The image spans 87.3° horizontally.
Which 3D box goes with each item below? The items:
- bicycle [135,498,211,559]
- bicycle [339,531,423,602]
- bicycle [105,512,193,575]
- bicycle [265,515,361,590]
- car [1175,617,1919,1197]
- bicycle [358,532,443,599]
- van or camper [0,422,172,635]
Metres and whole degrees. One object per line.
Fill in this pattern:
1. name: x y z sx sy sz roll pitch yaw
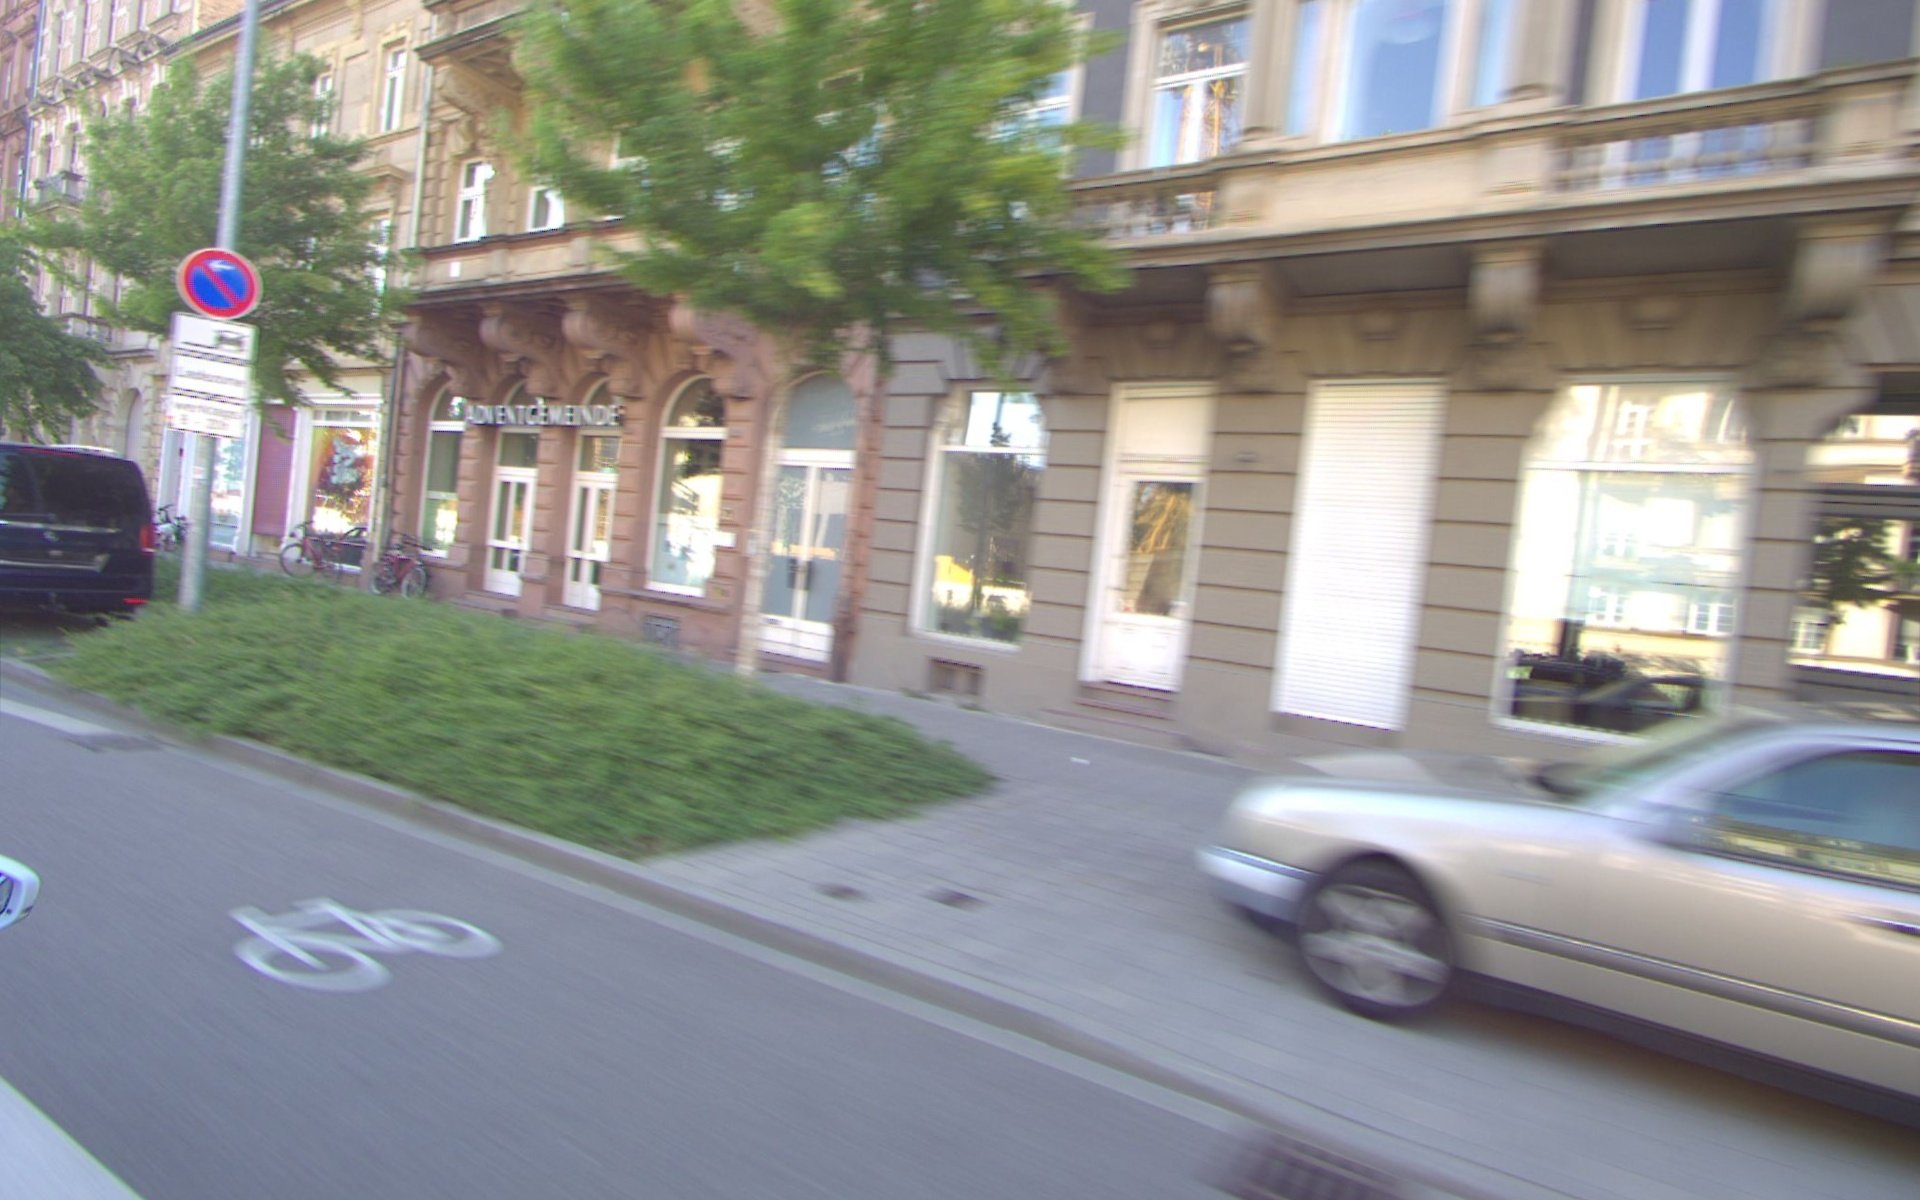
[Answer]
1. bicycle: -18.482 -1.680 23.613 1.742 1.210 0.720 7 1 29
2. bicycle: -10.491 -0.618 18.193 2.038 1.078 0.324 7 1 33
3. bicycle: -14.374 -1.012 17.821 1.655 0.927 0.655 7 0 33
4. bicycle: -12.742 -0.945 19.792 2.038 1.235 0.705 7 0 33
5. car: 3.404 1.100 3.790 4.667 1.504 1.690 7 3 34
6. bicycle: -10.303 -0.647 18.489 2.038 1.046 0.343 7 1 33
7. van or camper: -11.116 -0.946 11.243 5.398 1.998 1.960 7 3 33
